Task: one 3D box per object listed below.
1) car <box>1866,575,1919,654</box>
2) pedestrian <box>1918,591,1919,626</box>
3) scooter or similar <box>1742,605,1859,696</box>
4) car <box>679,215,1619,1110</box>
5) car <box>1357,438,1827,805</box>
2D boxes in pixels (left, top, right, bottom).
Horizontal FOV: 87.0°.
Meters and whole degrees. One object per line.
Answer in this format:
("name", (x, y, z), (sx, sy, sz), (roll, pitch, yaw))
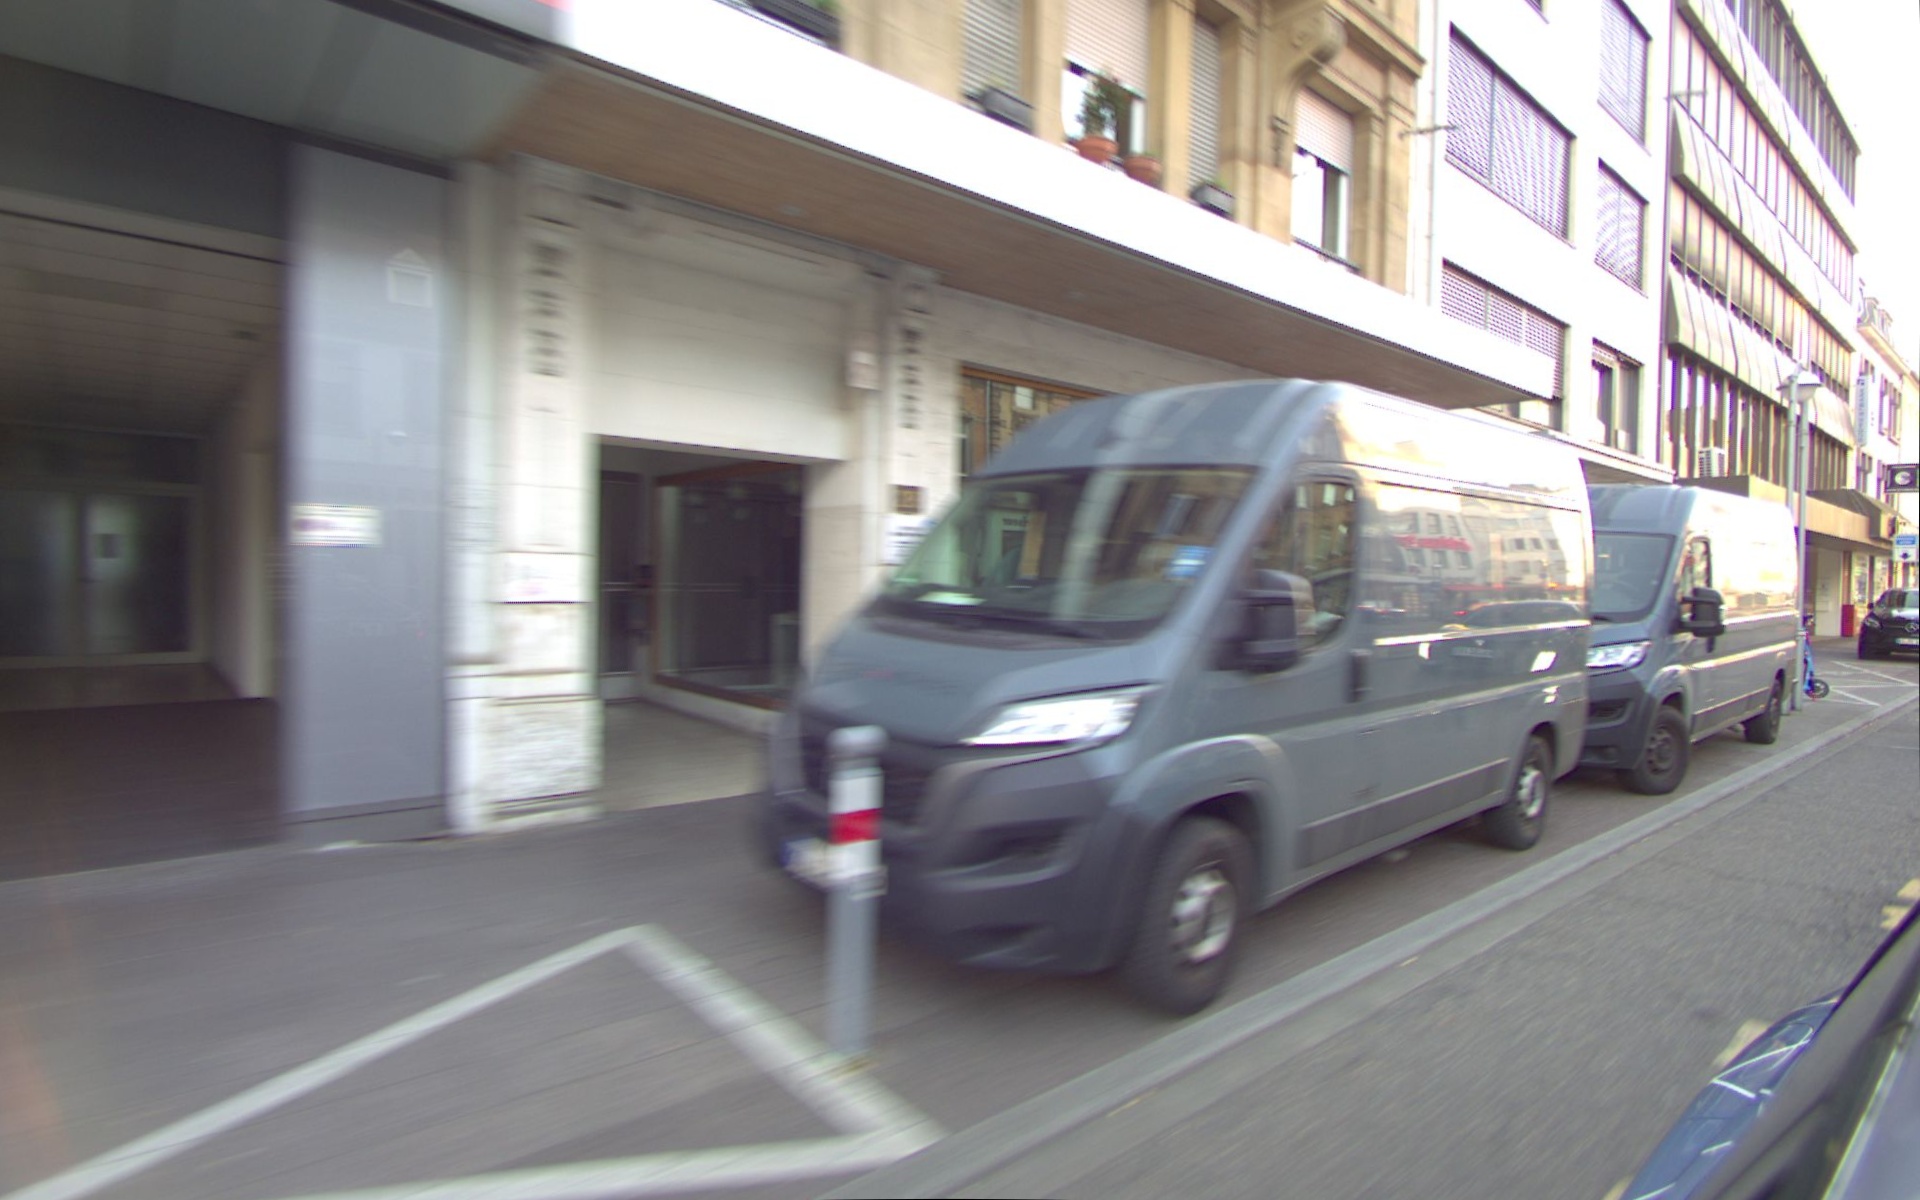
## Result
("car", (23.320, 0.333, 24.093), (4.485, 1.748, 1.998), (0, 2, -41))
("pedestrian", (37.270, 0.079, 38.682), (0.911, 1.828, 0.768), (0, 3, -39))
("scooter or similar", (11.979, 0.712, 14.436), (1.240, 1.235, 0.500), (1, 1, -3))
("car", (1.461, 0.114, 5.358), (5.317, 2.485, 2.037), (0, 3, -42))
("car", (6.259, 0.085, 9.598), (5.927, 2.485, 2.097), (0, 3, -41))
